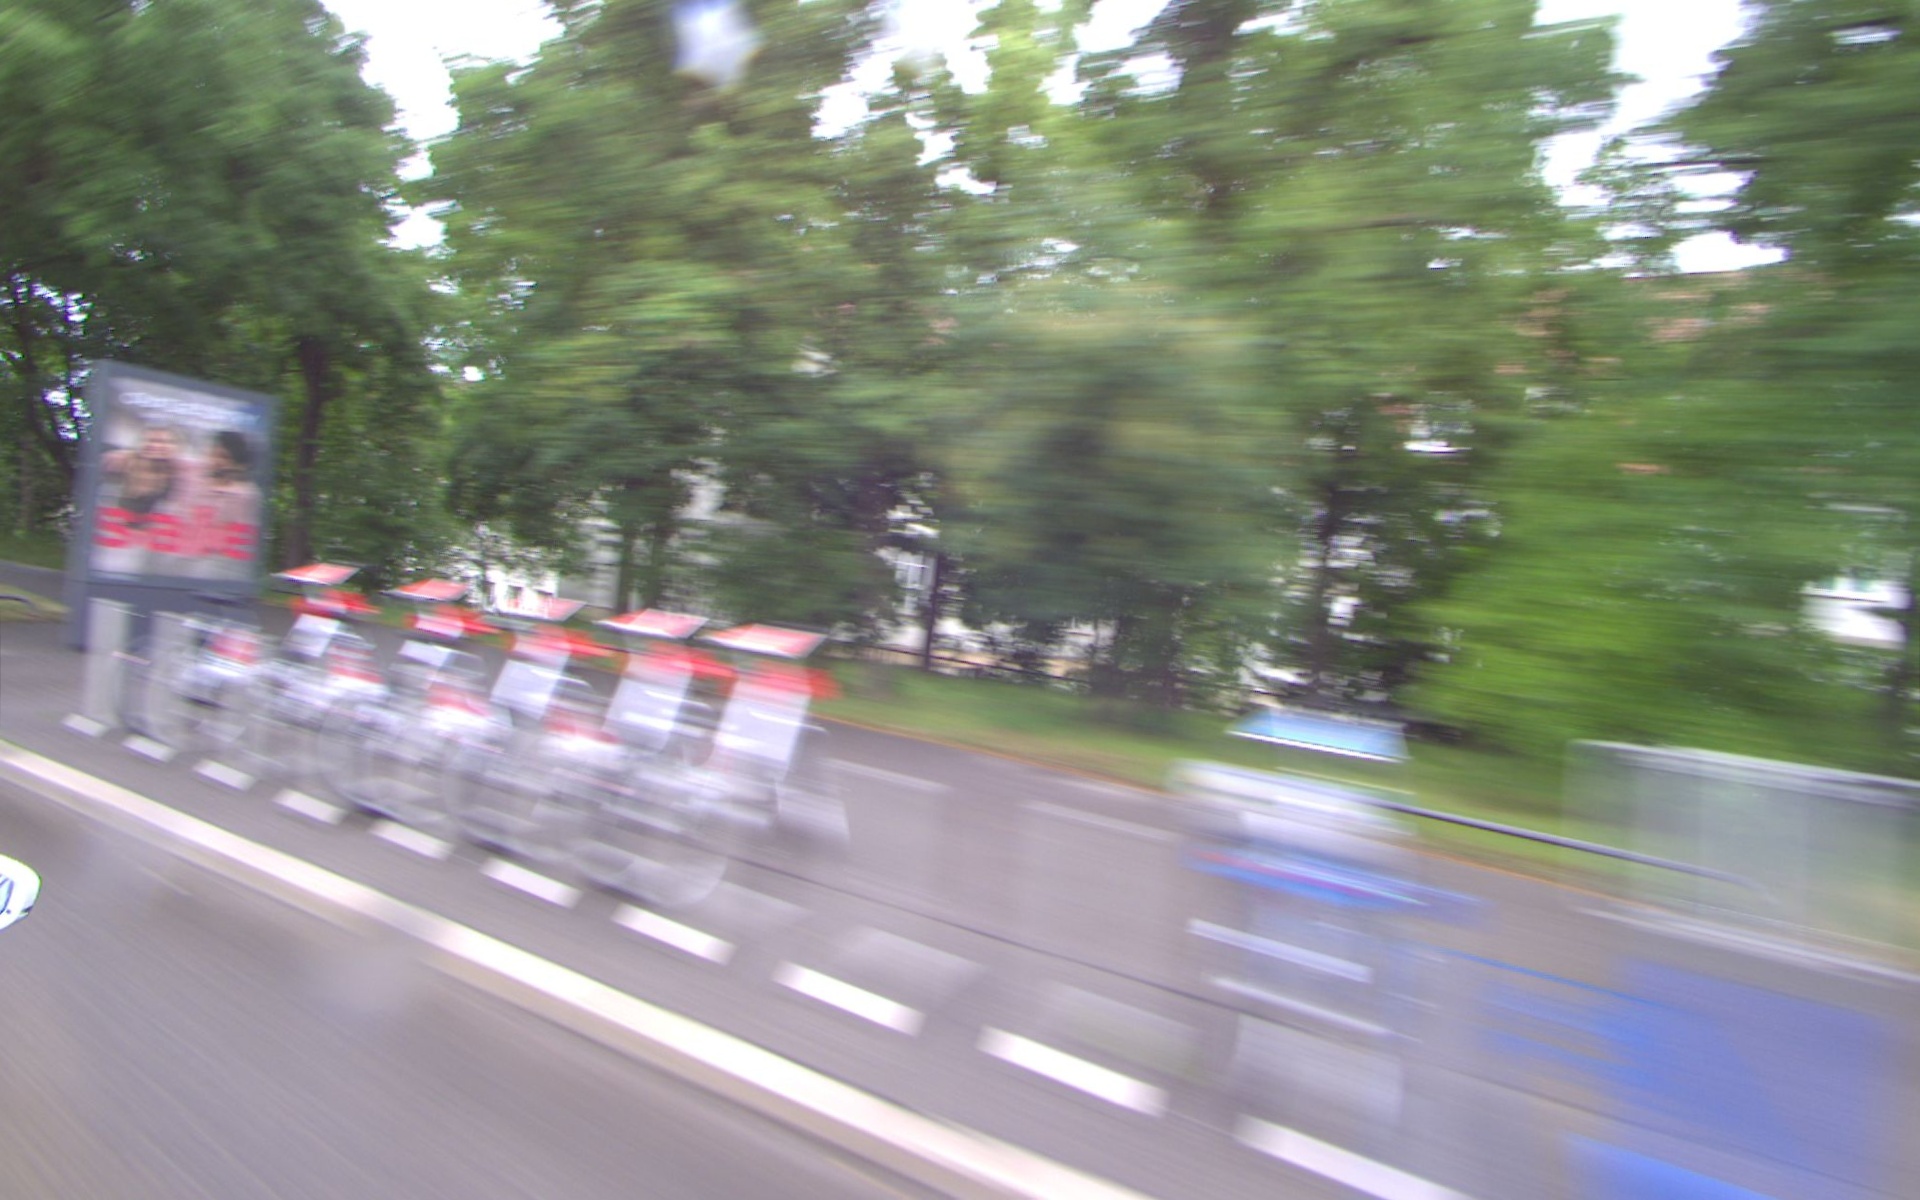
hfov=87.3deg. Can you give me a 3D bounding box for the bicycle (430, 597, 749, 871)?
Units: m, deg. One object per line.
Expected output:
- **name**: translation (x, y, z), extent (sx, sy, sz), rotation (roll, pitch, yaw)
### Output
- **bicycle**: translation (-1.807, 0.594, 5.126), extent (0.547, 1.146, 1.486), rotation (6, 2, 27)

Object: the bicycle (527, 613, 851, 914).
- **bicycle**: translation (-1.195, 0.663, 4.742), extent (0.547, 1.146, 1.486), rotation (6, 2, 27)

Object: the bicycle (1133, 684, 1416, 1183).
- **bicycle**: translation (1.145, 0.931, 3.415), extent (0.547, 1.146, 1.597), rotation (6, 2, 27)

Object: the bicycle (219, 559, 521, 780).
- **bicycle**: translation (-3.531, 0.382, 6.147), extent (0.547, 1.146, 1.486), rotation (6, 2, 27)

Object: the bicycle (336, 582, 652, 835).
- **bicycle**: translation (-2.465, 0.523, 5.493), extent (0.547, 1.146, 1.486), rotation (6, 2, 27)

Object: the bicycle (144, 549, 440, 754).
- **bicycle**: translation (-4.276, 0.306, 6.552), extent (0.547, 1.146, 1.486), rotation (6, 2, 27)
